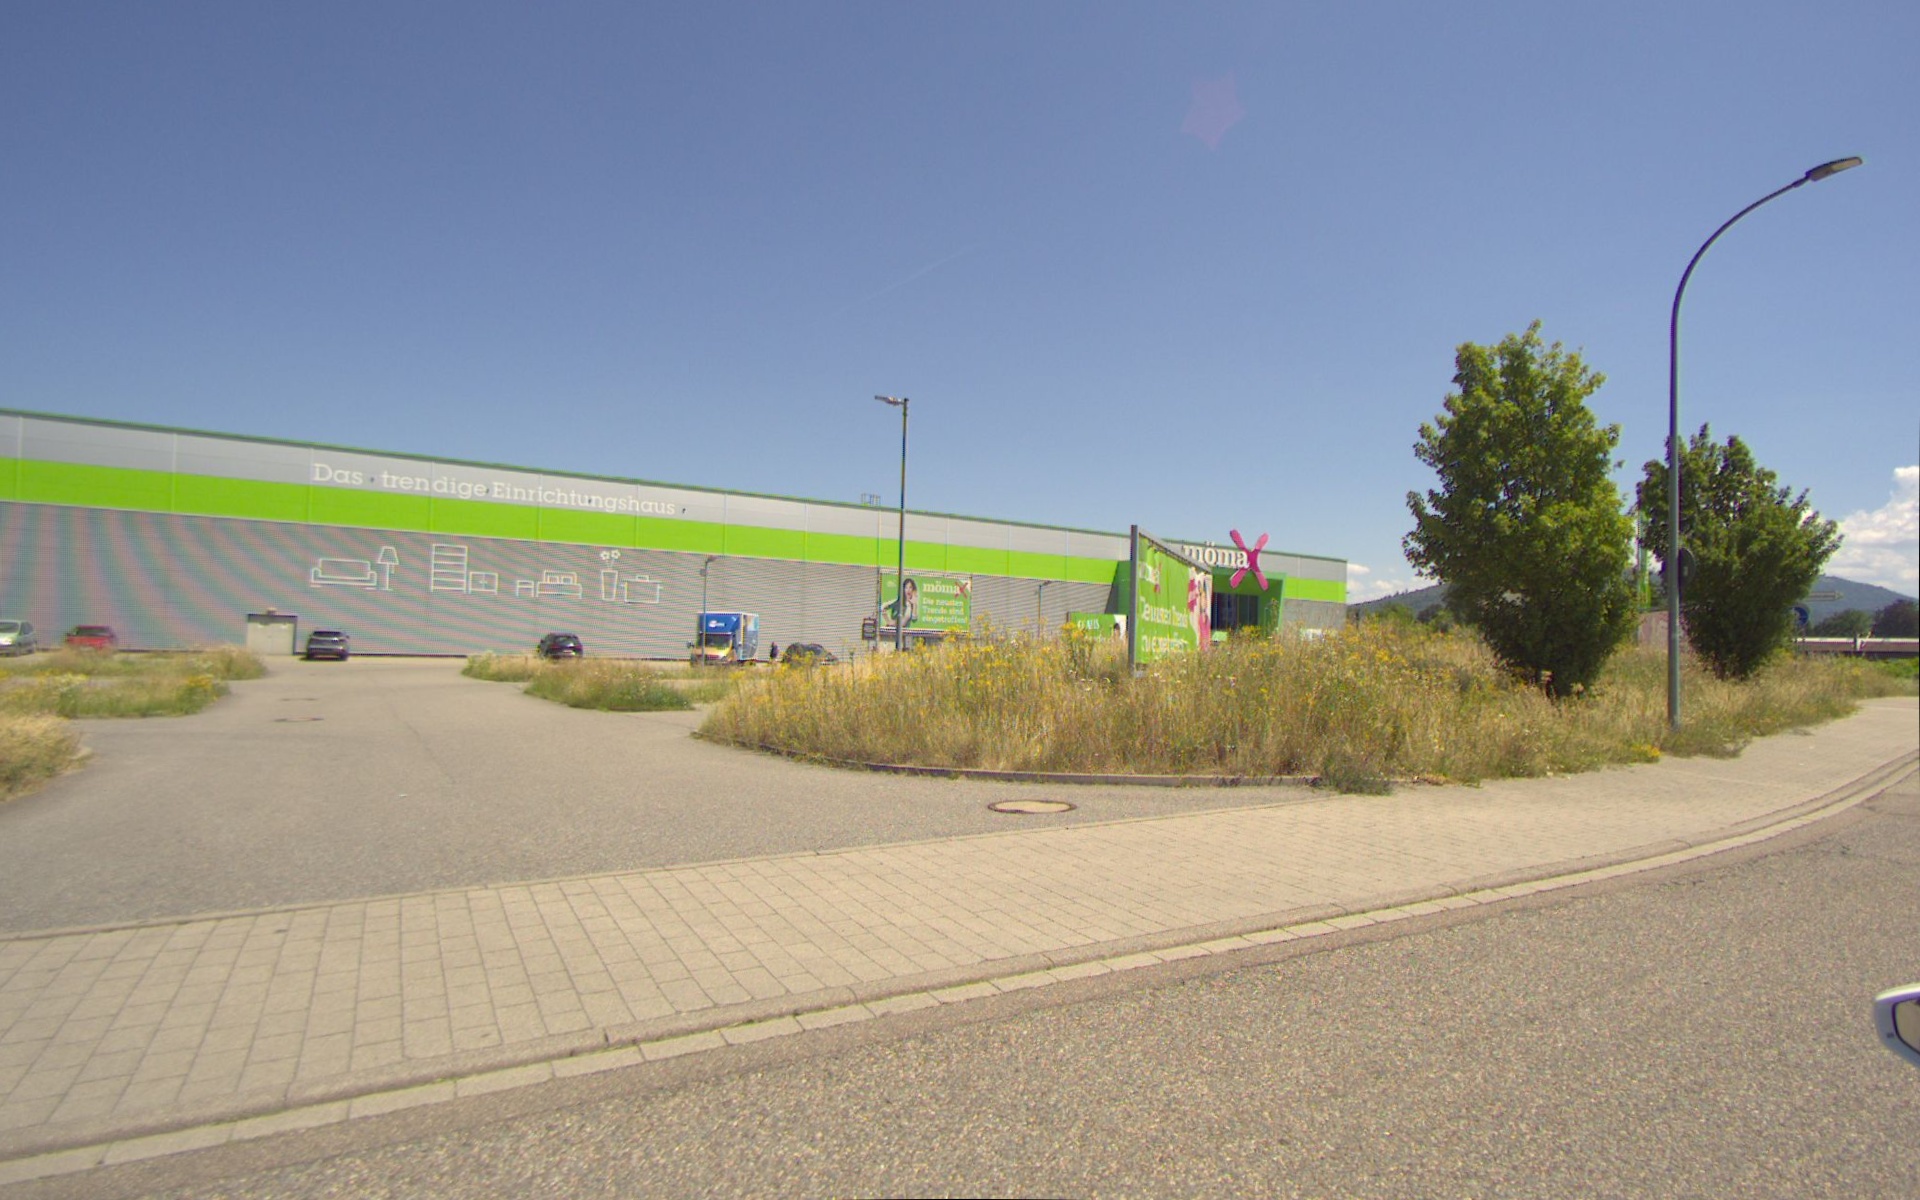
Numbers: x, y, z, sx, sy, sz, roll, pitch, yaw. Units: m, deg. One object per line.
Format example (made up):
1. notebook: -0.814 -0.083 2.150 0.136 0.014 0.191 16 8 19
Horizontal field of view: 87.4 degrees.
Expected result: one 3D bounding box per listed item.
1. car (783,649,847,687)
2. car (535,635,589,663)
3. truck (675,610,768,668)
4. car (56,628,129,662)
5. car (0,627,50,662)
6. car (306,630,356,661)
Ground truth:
1. car: -7.902 3.646 54.432 1.976 1.785 4.238 2 -1 -30
2. car: -23.045 2.803 58.115 2.077 1.509 3.962 2 -2 -34
3. truck: -12.146 1.939 51.930 2.903 2.719 7.778 1 -1 0
4. car: -40.239 2.074 46.700 2.077 1.509 3.962 2 -2 -34
5. car: -42.651 1.981 45.090 2.077 1.509 3.962 2 -2 -34
6. car: -32.966 2.360 52.587 2.077 1.509 3.962 2 -2 -34
